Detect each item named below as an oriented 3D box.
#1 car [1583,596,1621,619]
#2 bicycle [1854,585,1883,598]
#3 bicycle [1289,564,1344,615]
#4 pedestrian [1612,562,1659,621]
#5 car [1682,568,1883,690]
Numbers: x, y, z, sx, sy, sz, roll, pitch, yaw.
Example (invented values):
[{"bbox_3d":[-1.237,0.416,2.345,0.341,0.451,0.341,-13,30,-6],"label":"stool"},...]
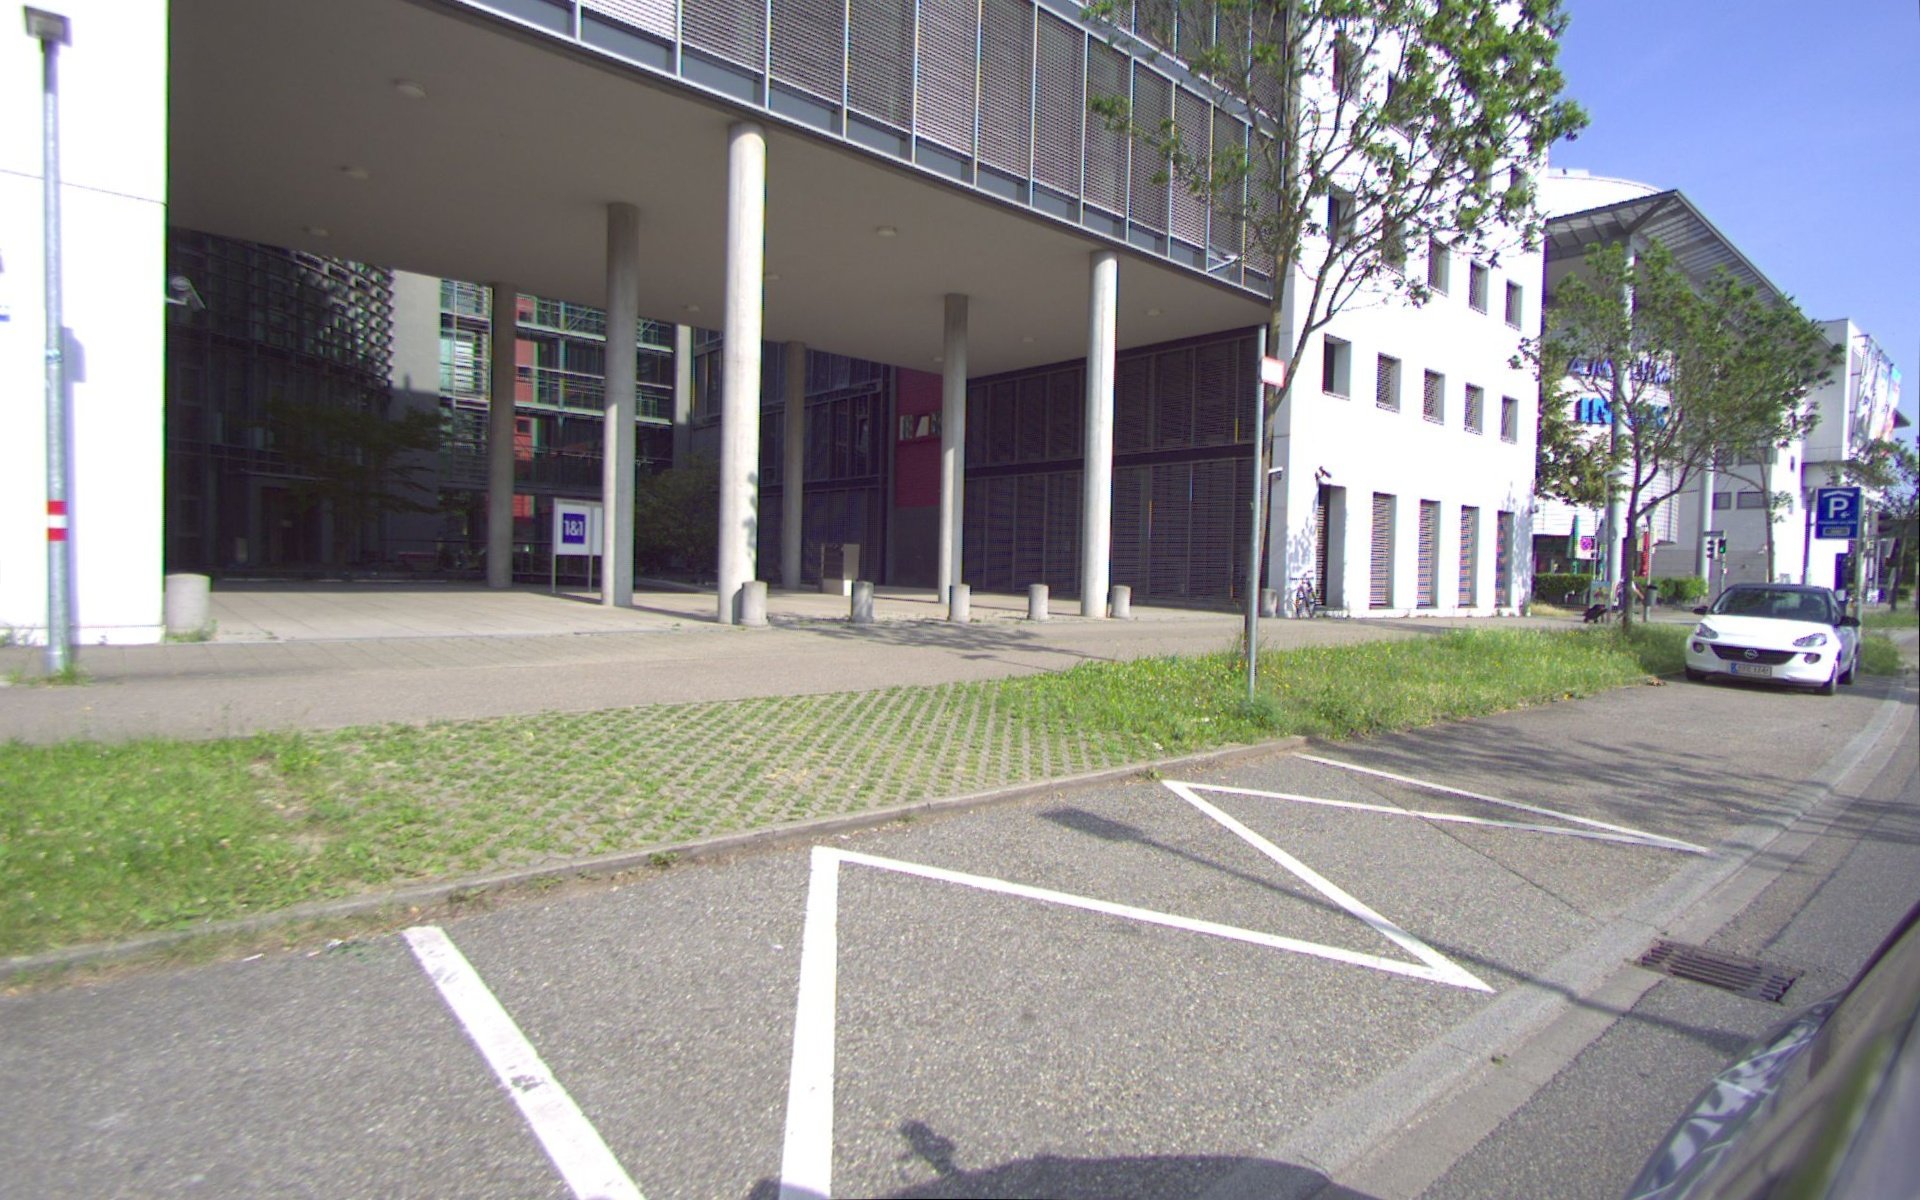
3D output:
[{"bbox_3d":[18.774,0.213,29.601,0.488,0.594,0.770,1,3,-15],"label":"car"},{"bbox_3d":[75.017,-0.700,83.570,0.474,0.926,1.661,0,3,-40],"label":"bicycle"},{"bbox_3d":[8.093,-0.245,22.965,1.524,1.099,0.494,-1,4,-44],"label":"bicycle"},{"bbox_3d":[19.274,-0.259,28.902,0.698,1.635,0.781,1,2,-14],"label":"pedestrian"},{"bbox_3d":[12.189,0.353,14.930,3.716,1.538,1.723,0,2,-42],"label":"car"}]
